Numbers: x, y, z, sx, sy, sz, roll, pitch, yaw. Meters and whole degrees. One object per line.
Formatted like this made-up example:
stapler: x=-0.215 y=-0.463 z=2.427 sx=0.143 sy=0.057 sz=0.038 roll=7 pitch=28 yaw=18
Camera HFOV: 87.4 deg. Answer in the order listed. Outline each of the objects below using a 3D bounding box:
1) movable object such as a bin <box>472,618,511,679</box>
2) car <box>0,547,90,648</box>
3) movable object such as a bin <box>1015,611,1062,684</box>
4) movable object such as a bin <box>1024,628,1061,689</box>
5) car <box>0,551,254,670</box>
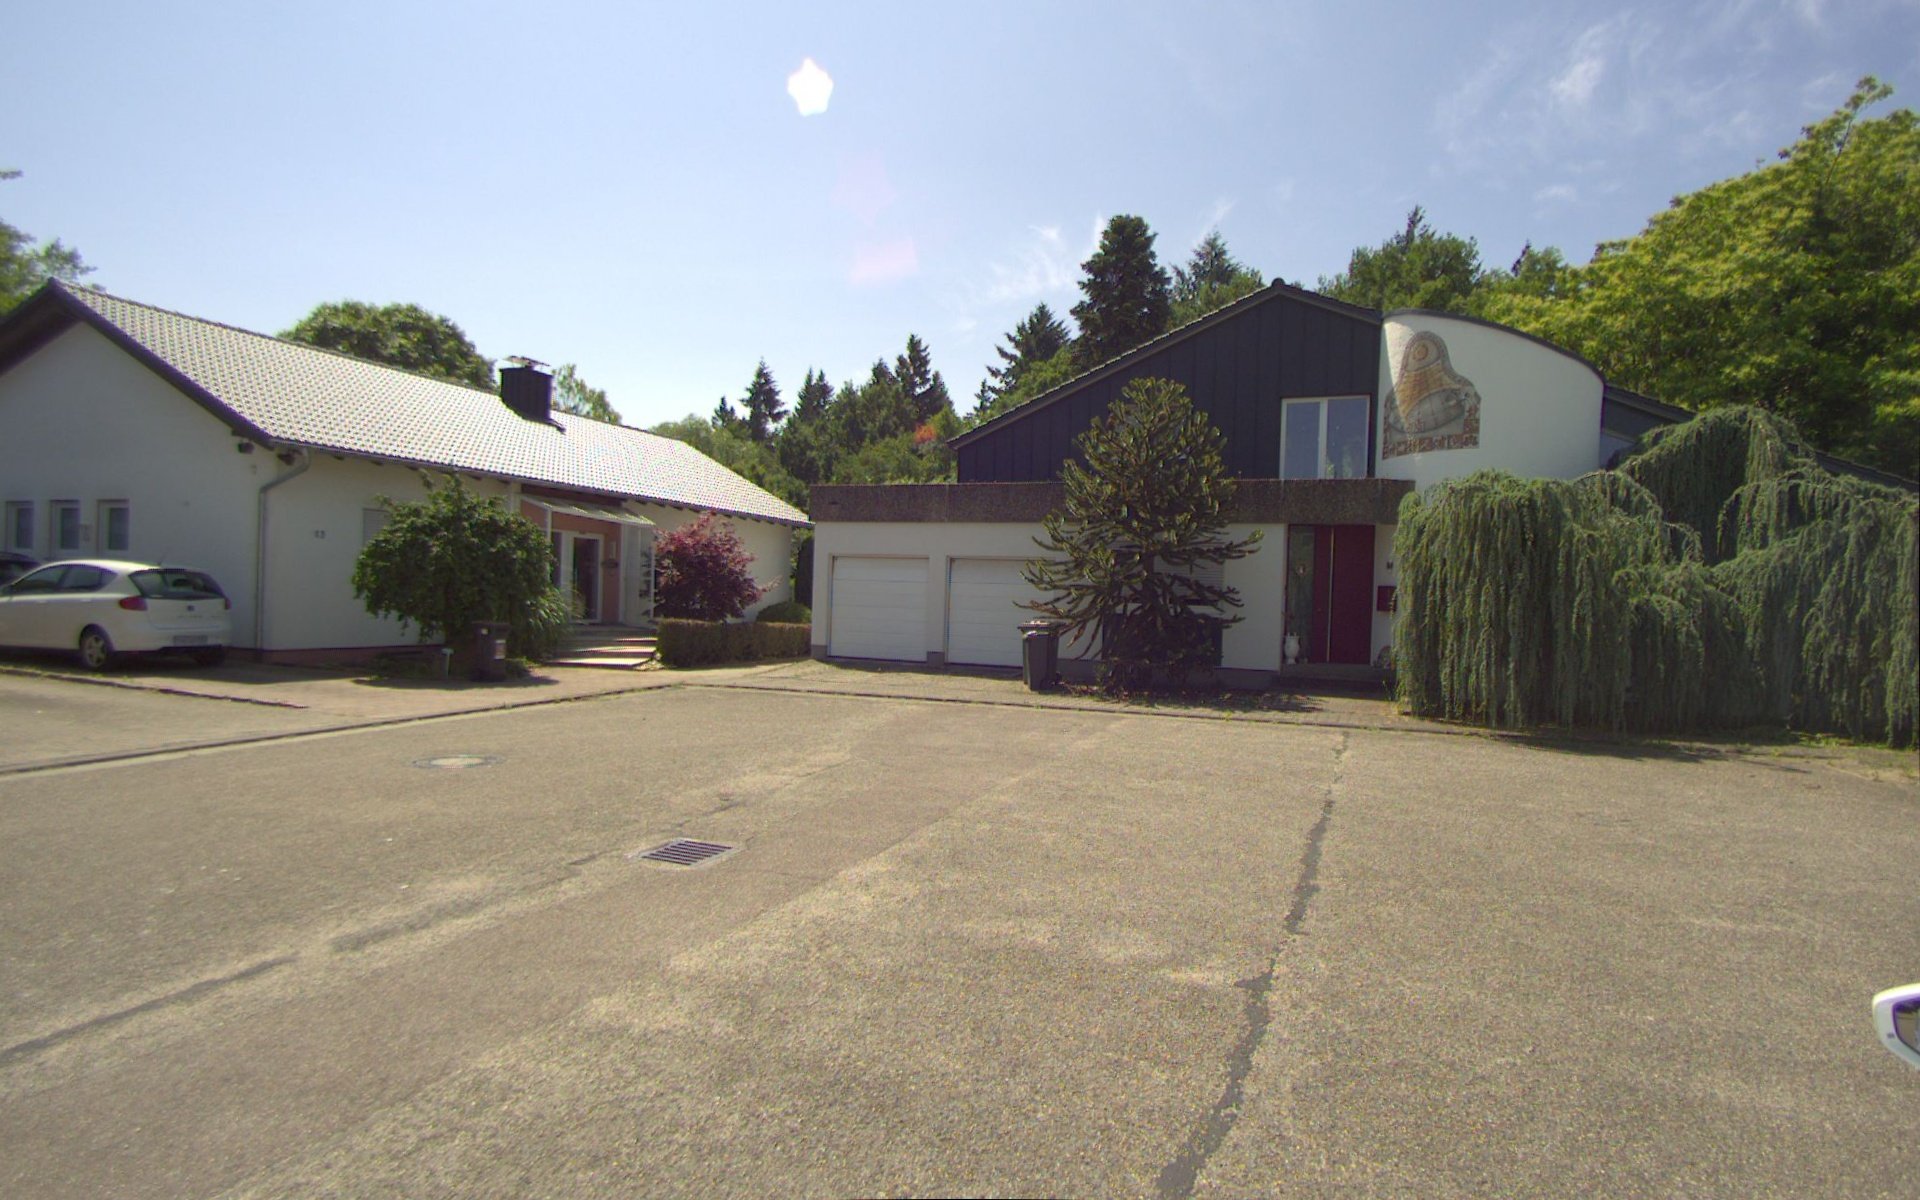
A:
movable object such as a bin: x=-7.163 y=0.735 z=15.357 sx=0.383 sy=0.903 sz=0.375 roll=2 pitch=1 yaw=21
car: x=-17.320 y=-0.122 z=17.314 sx=3.922 sy=1.629 sz=1.928 roll=3 pitch=1 yaw=22
movable object such as a bin: x=1.361 y=0.806 z=17.368 sx=0.621 sy=1.219 sz=0.551 roll=2 pitch=0 yaw=22
movable object such as a bin: x=1.356 y=0.963 z=16.544 sx=0.514 sy=0.962 sz=0.389 roll=2 pitch=0 yaw=-5
car: x=-13.139 y=0.117 z=15.435 sx=3.921 sy=1.589 sz=1.752 roll=2 pitch=0 yaw=19
